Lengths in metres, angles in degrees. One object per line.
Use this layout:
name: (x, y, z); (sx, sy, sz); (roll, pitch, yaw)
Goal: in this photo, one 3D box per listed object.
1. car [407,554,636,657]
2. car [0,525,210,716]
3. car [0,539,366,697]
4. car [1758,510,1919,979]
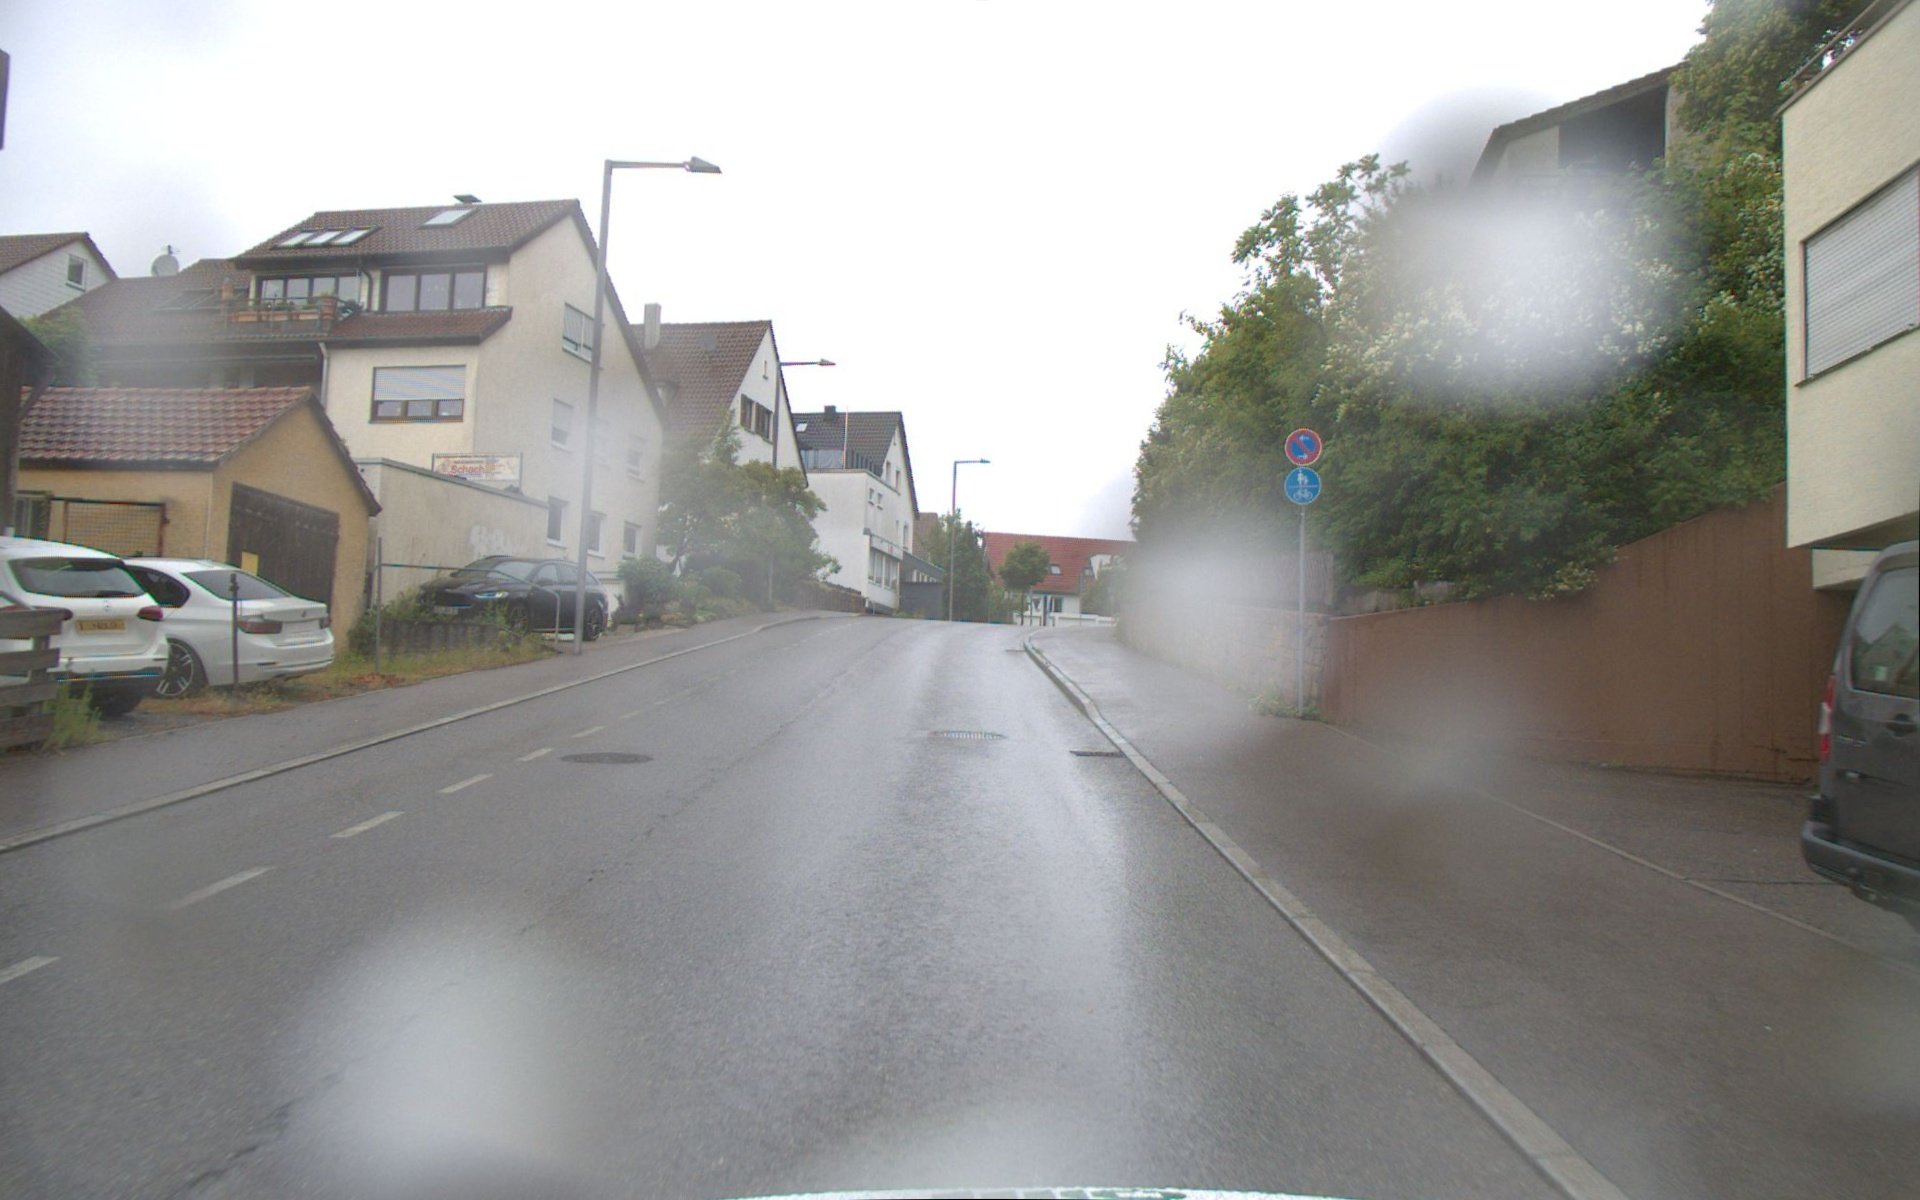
car: (-7.839, 0.088, 30.153); (1.932, 1.688, 4.967); (1, 0, 13)
car: (-8.992, 0.120, 14.614); (3.902, 1.531, 1.902); (1, 0, 12)
car: (-9.026, 0.153, 18.065); (4.400, 1.531, 1.902); (1, 0, 12)
car: (6.105, 0.616, 6.862); (4.611, 1.852, 2.000); (1, 0, -1)
